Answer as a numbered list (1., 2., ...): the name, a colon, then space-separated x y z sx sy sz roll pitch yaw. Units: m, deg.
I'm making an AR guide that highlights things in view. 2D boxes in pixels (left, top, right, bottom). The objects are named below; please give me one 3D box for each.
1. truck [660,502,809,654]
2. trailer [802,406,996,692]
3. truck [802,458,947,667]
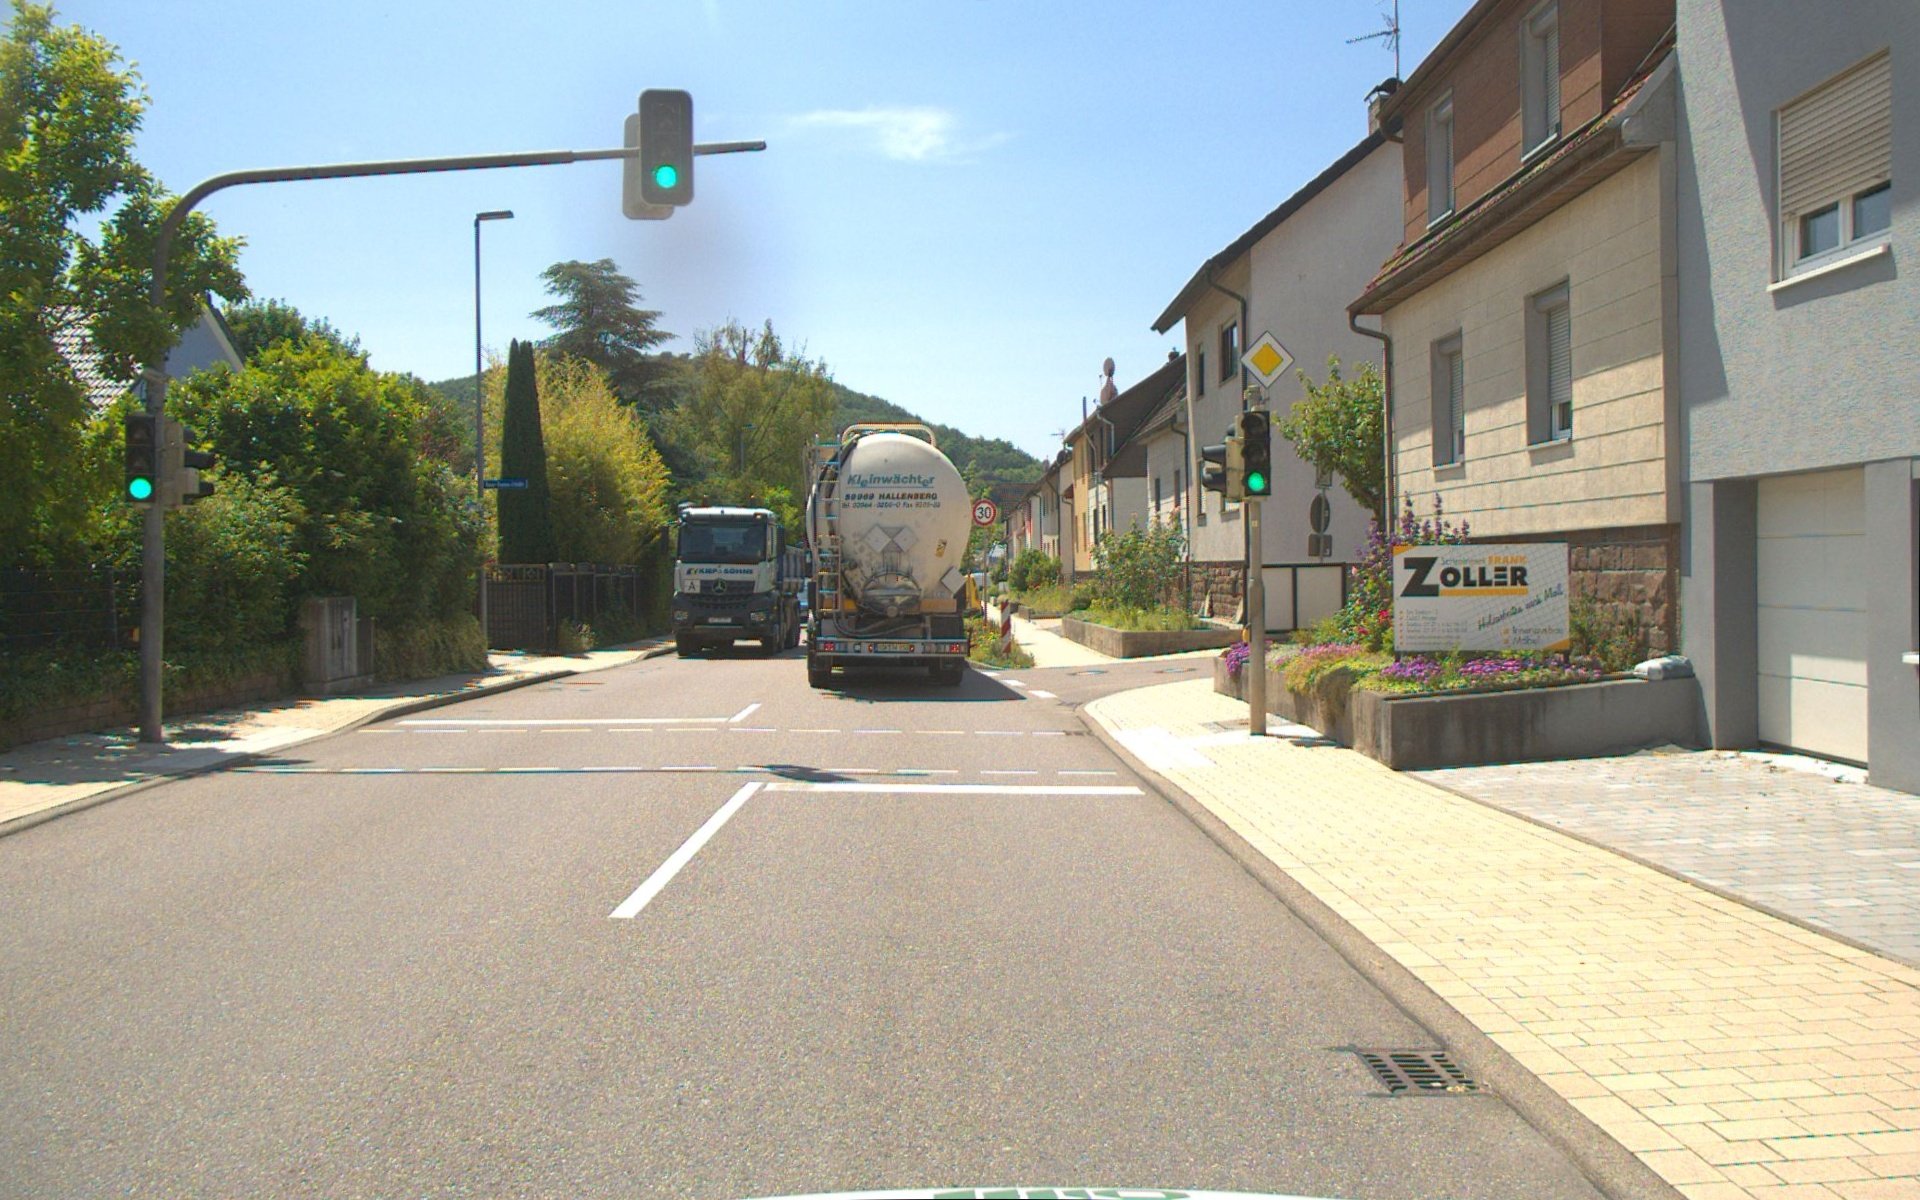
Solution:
1. truck: -5.549 -0.515 42.153 2.673 3.430 8.633 1 0 -1
2. trailer: -1.352 -0.738 28.797 2.742 4.071 10.311 0 0 -6
3. truck: -1.919 -0.726 35.081 2.754 4.006 6.092 1 0 -5
